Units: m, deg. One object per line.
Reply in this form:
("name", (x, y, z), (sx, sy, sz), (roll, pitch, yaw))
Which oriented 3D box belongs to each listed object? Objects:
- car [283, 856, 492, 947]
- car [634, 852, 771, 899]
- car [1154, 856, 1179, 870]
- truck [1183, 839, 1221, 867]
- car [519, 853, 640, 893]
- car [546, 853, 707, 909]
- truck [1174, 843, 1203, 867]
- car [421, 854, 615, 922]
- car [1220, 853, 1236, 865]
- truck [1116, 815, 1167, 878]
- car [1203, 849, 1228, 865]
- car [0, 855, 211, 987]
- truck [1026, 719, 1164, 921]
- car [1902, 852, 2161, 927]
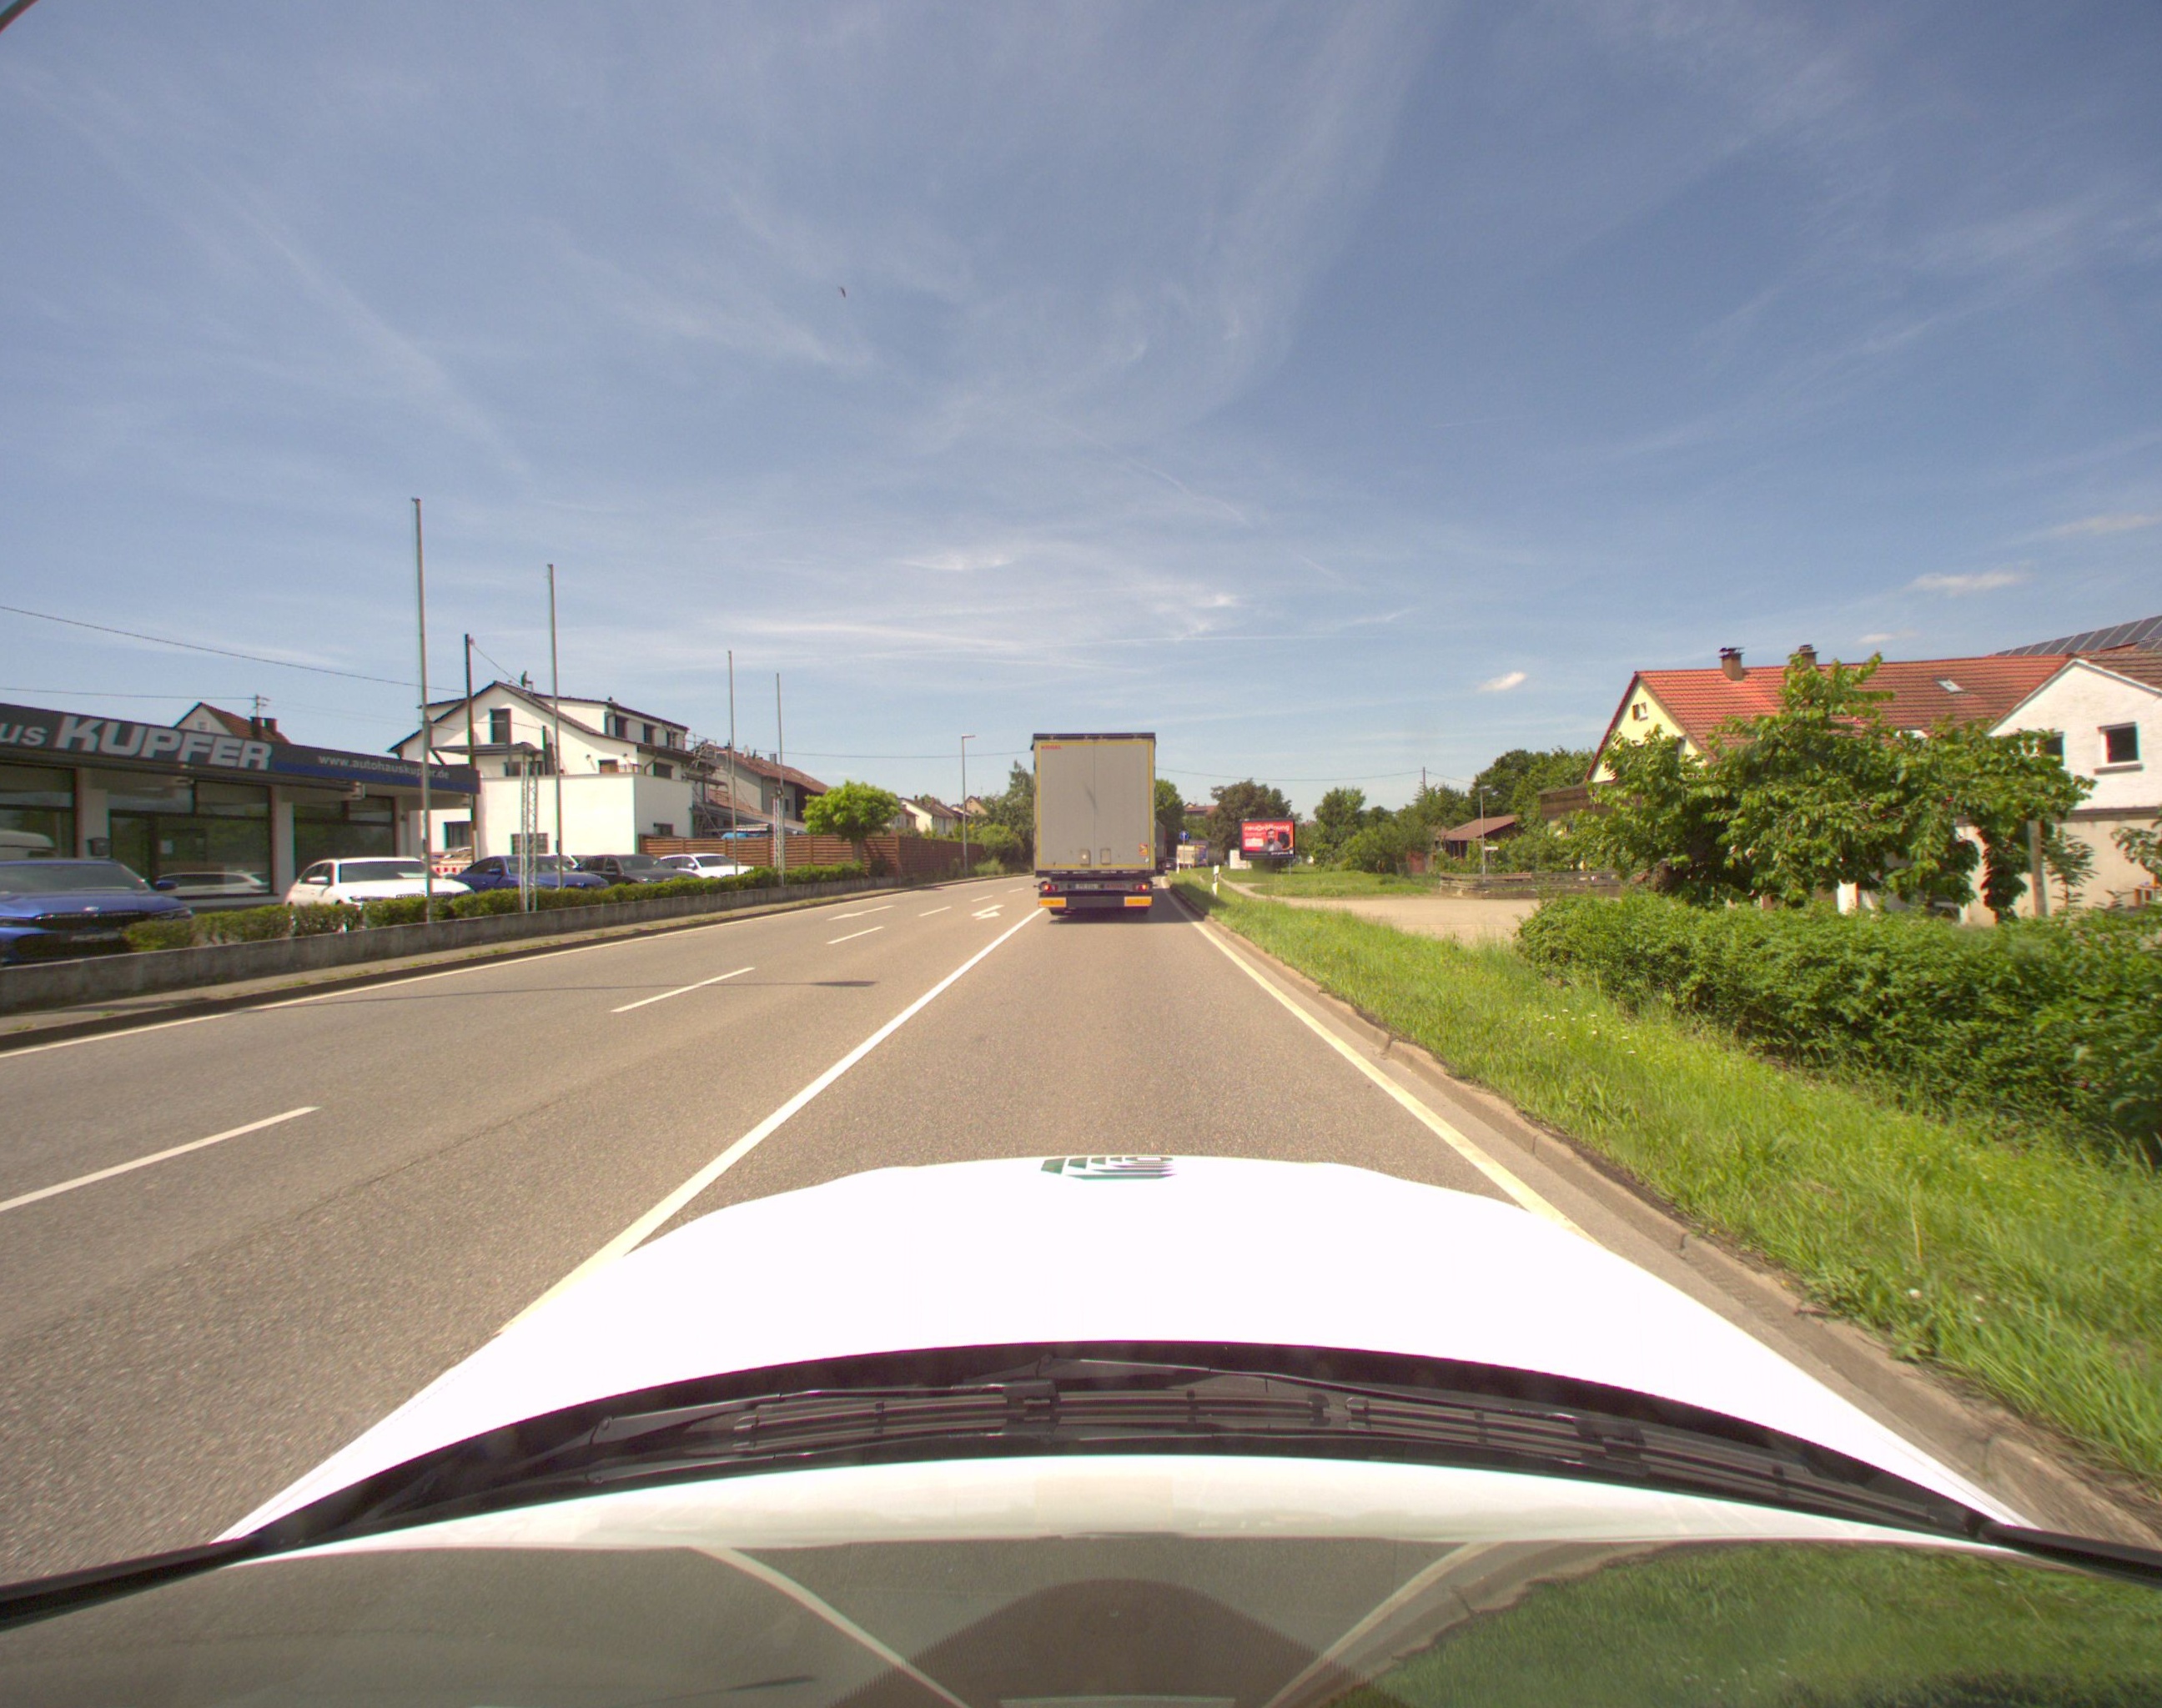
("car", (-13.010, 0.773, 15.197), (4.457, 1.447, 1.869), (0, 0, 34))
("car", (-12.587, 0.690, 27.037), (4.288, 1.447, 1.868), (0, -1, 27))
("car", (8.972, 0.923, 85.260), (1.979, 1.376, 4.016), (0, -1, 15))
("truck", (16.407, -0.175, 109.737), (3.405, 3.604, 9.398), (0, 0, 18))
("car", (-19.754, 0.728, 32.108), (3.957, 1.510, 1.843), (0, 0, 16))
("car", (-12.876, 0.722, 23.040), (4.288, 1.447, 1.910), (0, -1, 27))
("truck", (12.992, 0.185, 97.978), (2.523, 2.803, 6.059), (0, -1, 18))
("car", (-13.297, 0.754, 19.220), (4.288, 1.447, 1.868), (0, -1, 26))
("car", (23.576, 0.801, 130.473), (1.977, 2.014, 4.019), (0, -1, 19))
("truck", (5.016, -0.416, 63.775), (2.744, 4.289, 16.453), (0, -1, 9))
("car", (19.627, 0.384, 118.542), (2.511, 2.277, 6.412), (0, 0, 19))
("car", (-13.404, 0.757, 10.665), (4.286, 1.447, 1.869), (0, -1, 31))
("truck", (0.499, -0.687, 22.349), (2.811, 4.127, 11.449), (0, 0, 2))
("car", (22.280, 0.806, 19.149), (3.970, 1.578, 1.835), (-2, -1, 3))
